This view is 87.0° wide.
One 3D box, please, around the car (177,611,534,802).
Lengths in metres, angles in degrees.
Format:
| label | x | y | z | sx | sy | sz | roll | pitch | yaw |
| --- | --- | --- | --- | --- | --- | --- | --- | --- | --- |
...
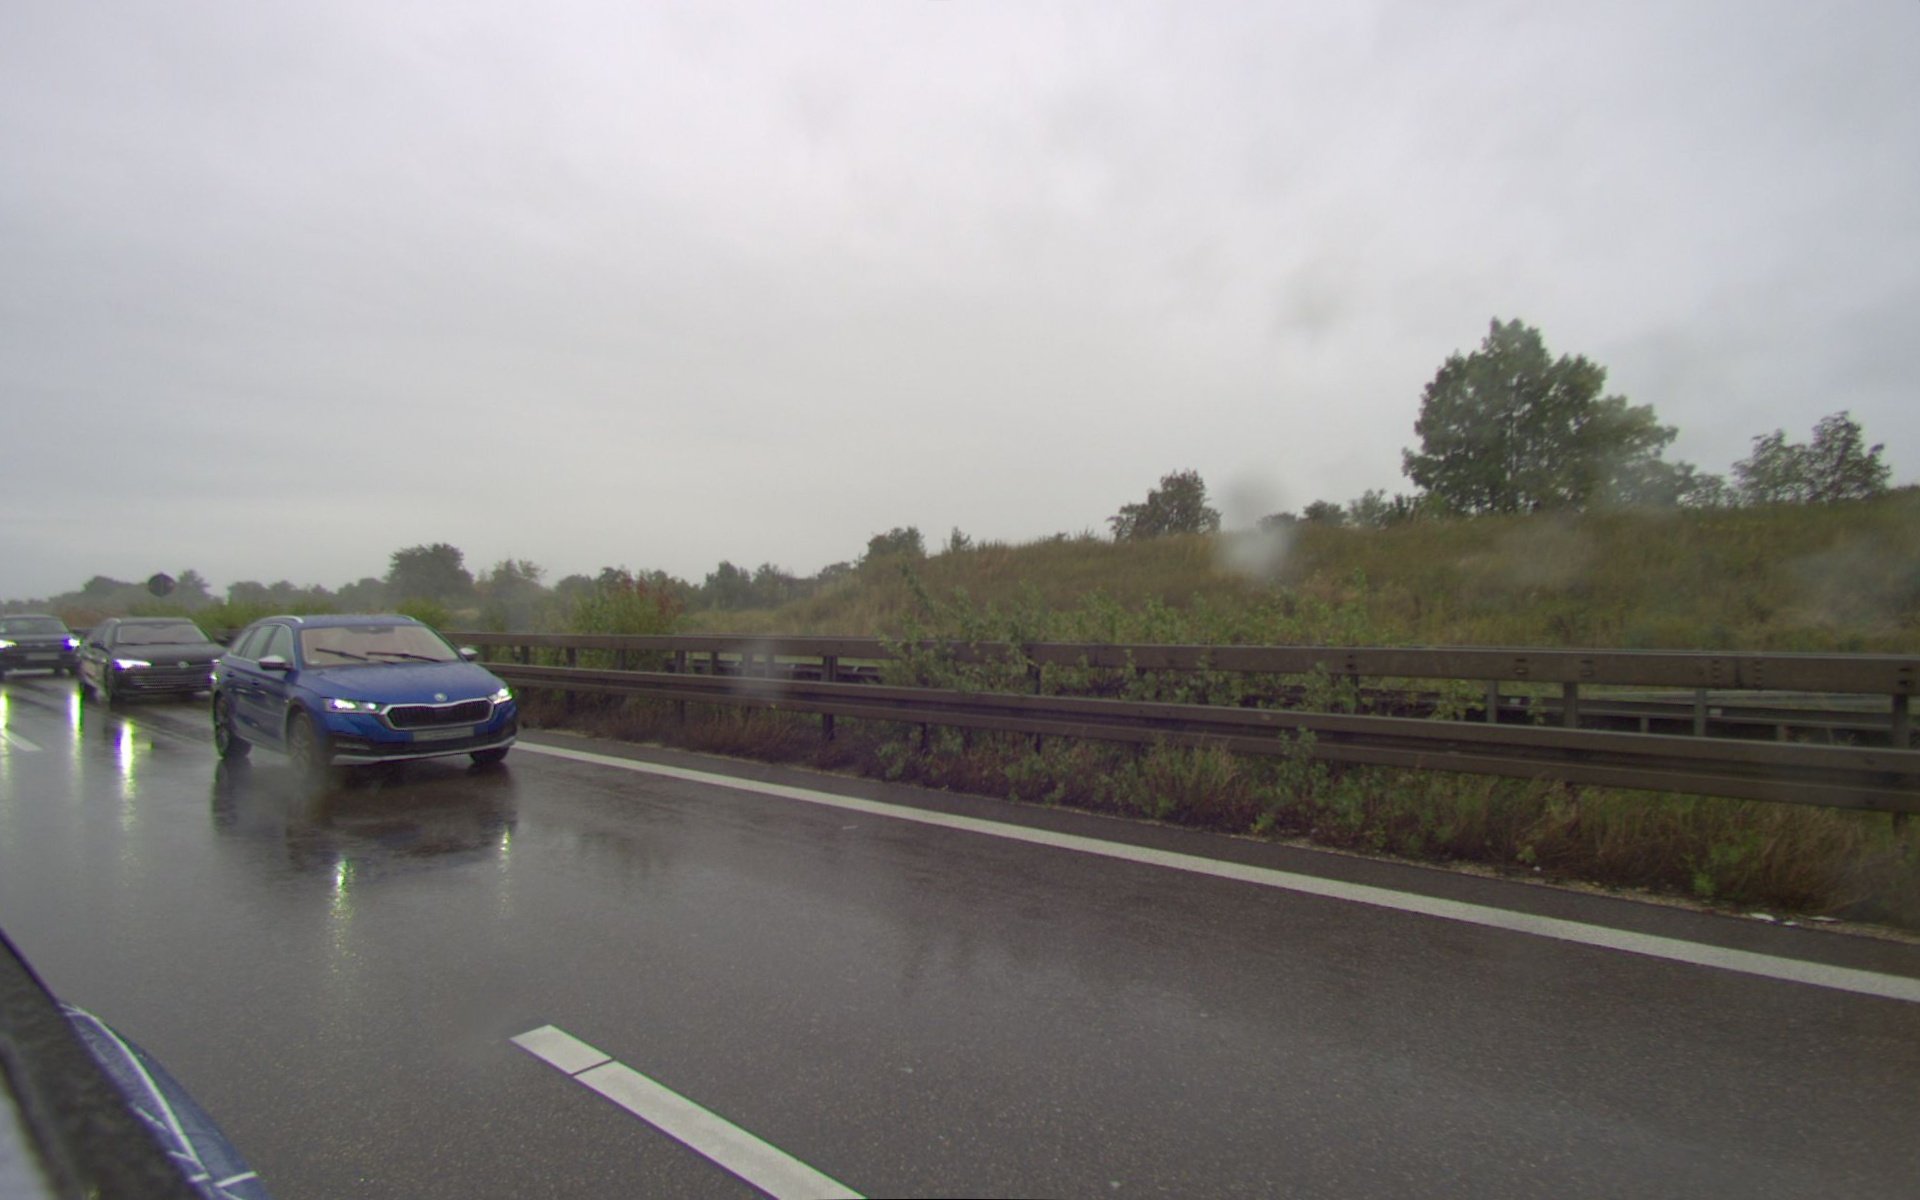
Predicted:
| label | x | y | z | sx | sy | sz | roll | pitch | yaw |
| --- | --- | --- | --- | --- | --- | --- | --- | --- | --- |
| car | -6.208 | 0.890 | 10.154 | 4.509 | 1.487 | 1.768 | -1 | -1 | 41 |

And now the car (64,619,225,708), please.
| label | x | y | z | sx | sy | sz | roll | pitch | yaw |
| --- | --- | --- | --- | --- | --- | --- | --- | --- | --- |
| car | -15.146 | 1.095 | 18.715 | 4.368 | 1.447 | 1.592 | -1 | -1 | 41 |

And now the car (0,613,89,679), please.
| label | x | y | z | sx | sy | sz | roll | pitch | yaw |
| --- | --- | --- | --- | --- | --- | --- | --- | --- | --- |
| car | -25.295 | 1.216 | 27.499 | 4.266 | 1.644 | 1.864 | -1 | -1 | 41 |
